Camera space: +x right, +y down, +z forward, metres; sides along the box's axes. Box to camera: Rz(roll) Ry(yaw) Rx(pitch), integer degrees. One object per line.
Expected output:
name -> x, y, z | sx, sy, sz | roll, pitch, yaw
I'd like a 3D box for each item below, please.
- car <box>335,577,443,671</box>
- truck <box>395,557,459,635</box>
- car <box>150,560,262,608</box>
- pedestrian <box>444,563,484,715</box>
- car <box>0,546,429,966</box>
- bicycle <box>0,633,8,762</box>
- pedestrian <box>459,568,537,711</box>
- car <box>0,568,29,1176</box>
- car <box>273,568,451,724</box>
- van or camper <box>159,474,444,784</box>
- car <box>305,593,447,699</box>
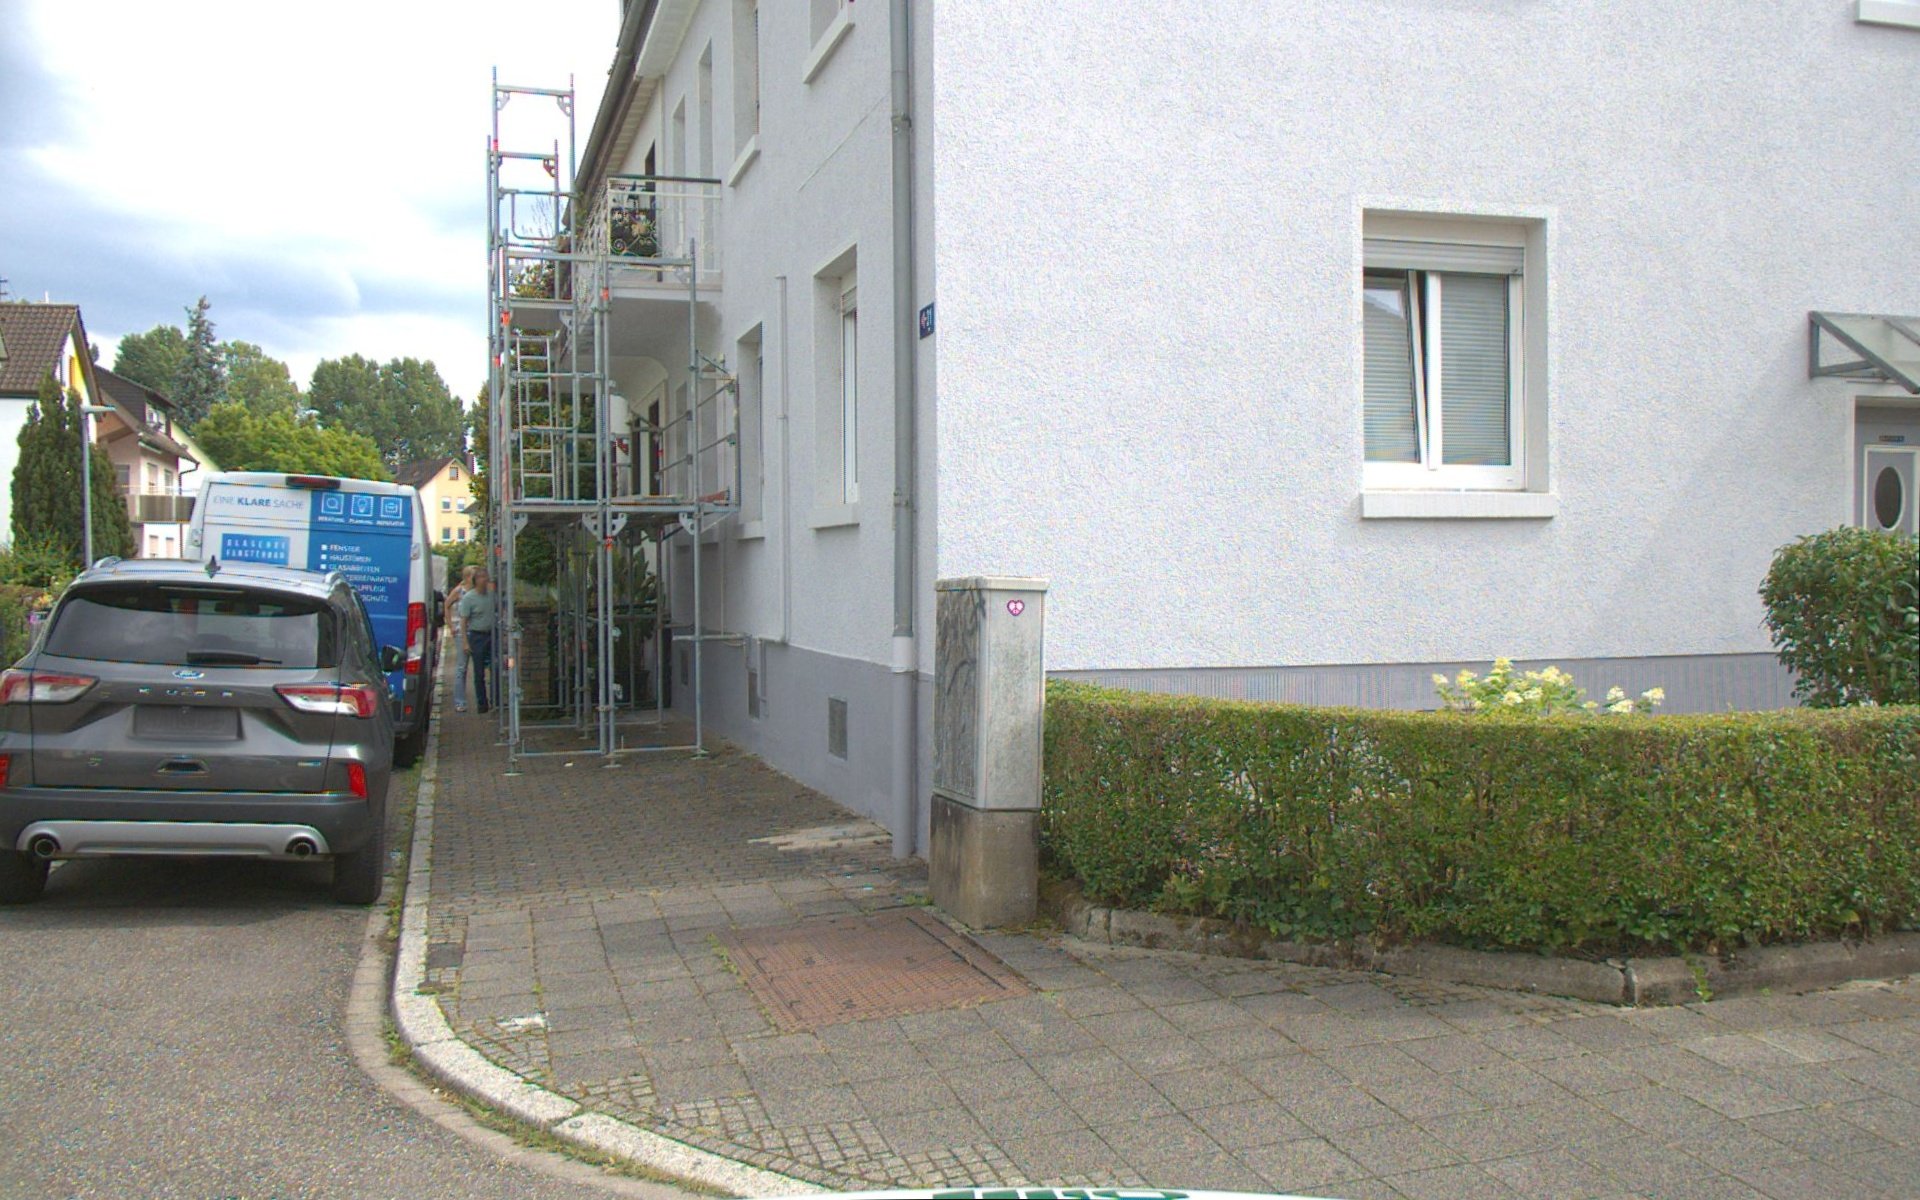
car -> -11.838, 0.435, 34.259 | 1.964, 1.780, 4.317 | -1, 1, -20
truck -> -19.572, -0.170, 60.586 | 2.098, 2.703, 4.559 | -1, 1, -19
car -> -29.869, -0.629, 65.663 | 3.932, 1.803, 1.857 | -1, -1, -22
pedestrian -> -5.964, 0.459, 19.878 | 0.401, 1.793, 0.510 | -1, -1, -21
car -> -4.083, 0.625, 9.258 | 1.964, 1.757, 4.317 | -1, 1, -20
bicycle -> -8.957, 0.913, 14.424 | 0.694, 1.172, 1.864 | -2, 1, -17
pedestrian -> -5.458, 0.463, 19.556 | 0.589, 1.658, 0.624 | -2, -1, 28
car -> -2.930, 0.683, 2.245 | 1.784, 1.546, 4.030 | 0, 0, -12
car -> -7.825, 0.505, 21.753 | 1.964, 1.803, 4.317 | -1, 1, -20
van or camper -> -6.181, 0.186, 16.106 | 2.158, 2.502, 5.029 | -1, 1, -18
car -> -9.358, 0.669, 26.550 | 1.964, 1.481, 4.317 | -1, 1, -20
